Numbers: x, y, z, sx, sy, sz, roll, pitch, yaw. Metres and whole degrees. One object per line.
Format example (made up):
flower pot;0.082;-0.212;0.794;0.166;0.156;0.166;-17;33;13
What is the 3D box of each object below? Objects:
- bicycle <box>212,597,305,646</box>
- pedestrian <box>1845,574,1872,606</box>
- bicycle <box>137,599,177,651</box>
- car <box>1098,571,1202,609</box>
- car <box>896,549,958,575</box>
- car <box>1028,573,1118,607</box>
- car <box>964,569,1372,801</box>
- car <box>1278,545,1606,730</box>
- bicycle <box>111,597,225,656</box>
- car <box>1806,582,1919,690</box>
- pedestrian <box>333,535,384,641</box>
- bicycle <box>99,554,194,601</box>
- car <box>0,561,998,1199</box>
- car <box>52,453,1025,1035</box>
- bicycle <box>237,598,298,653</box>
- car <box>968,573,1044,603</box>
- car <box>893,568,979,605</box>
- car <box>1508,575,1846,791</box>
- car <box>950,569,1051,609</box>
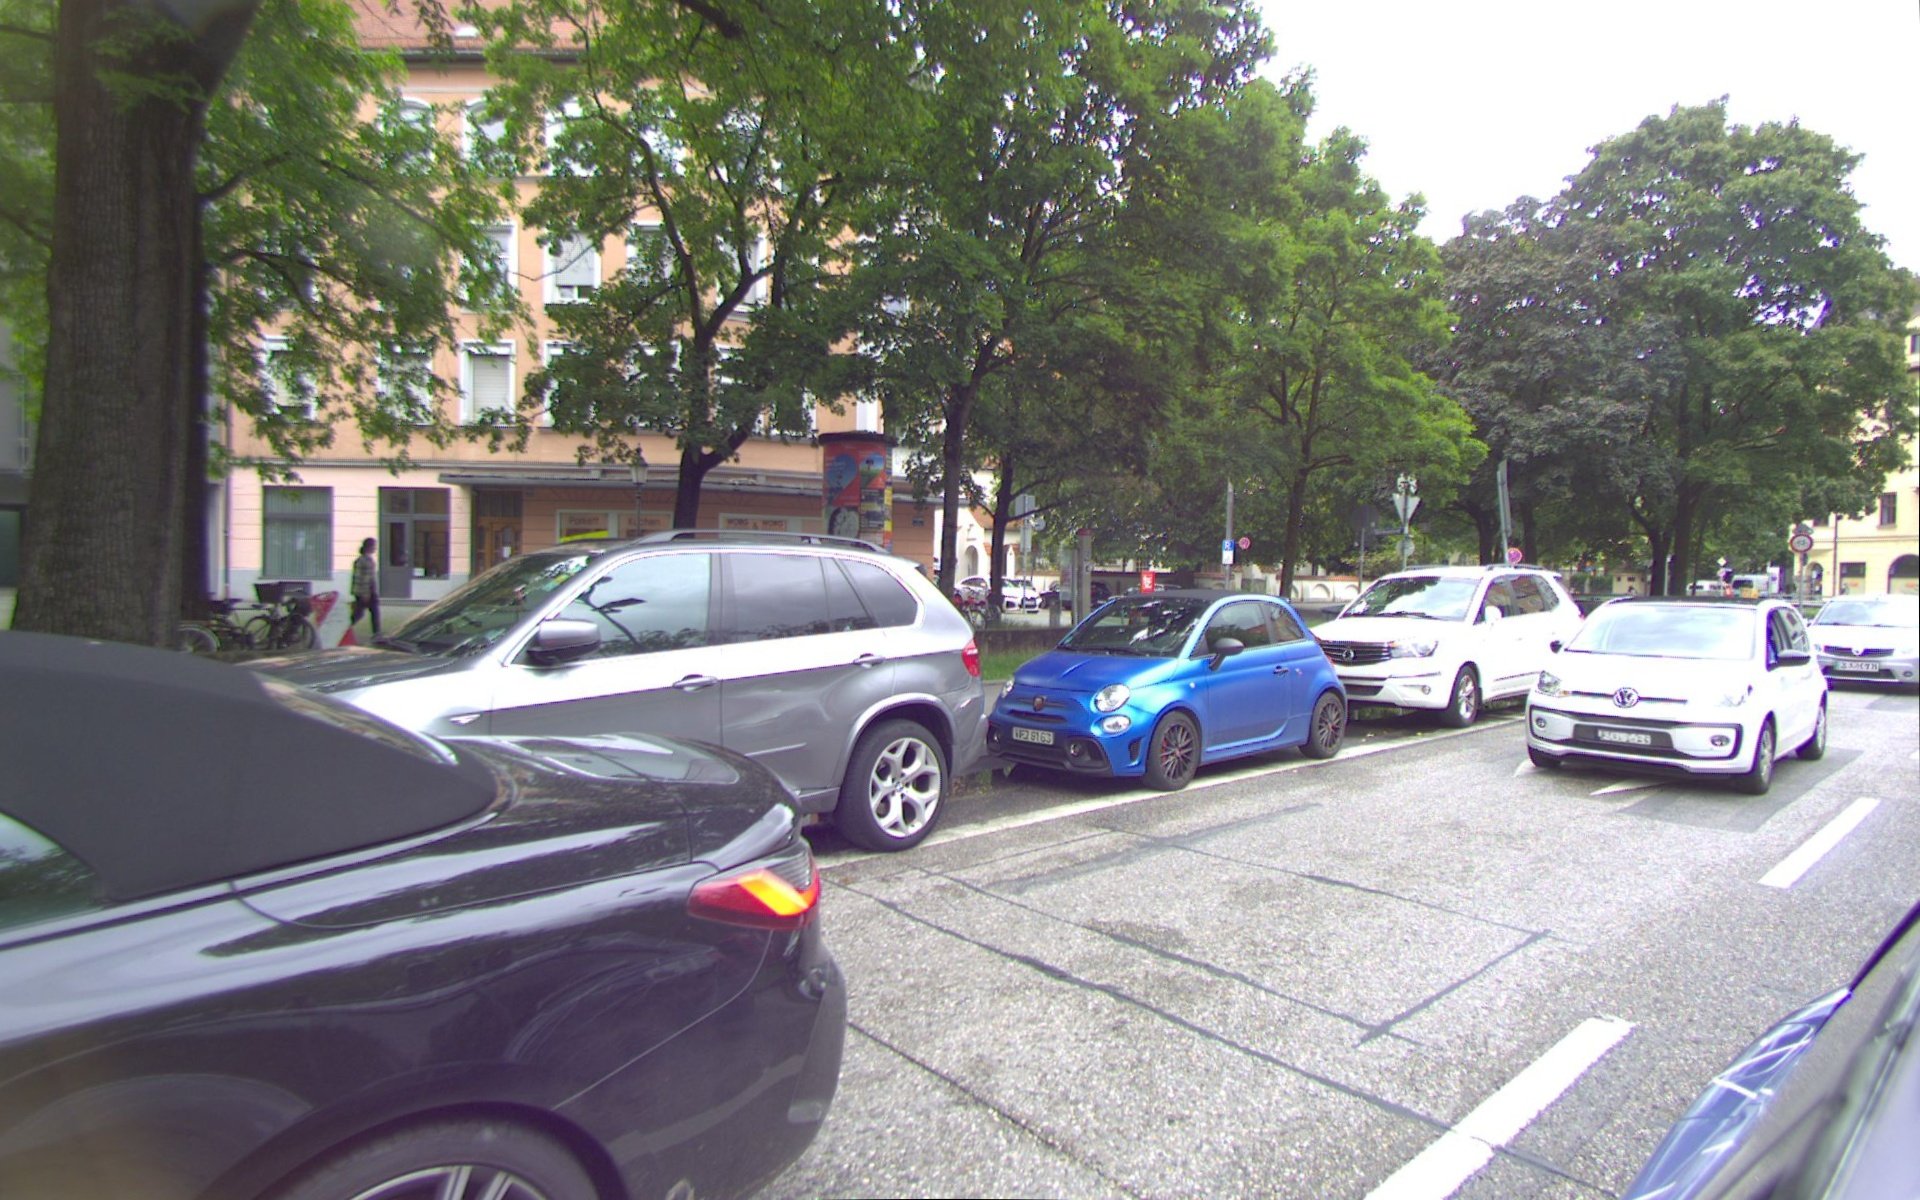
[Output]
bicycle;-10.942;0.330;15.808;1.154;0.732;0.320;-1;0;-19
pedestrian;58.949;-0.645;66.396;0.860;2.039;1.010;-1;0;-9
bicycle;-11.804;0.353;14.886;0.313;0.732;1.179;-1;1;-32
car;7.916;-0.430;42.607;1.824;1.485;4.446;-1;1;-31
car;-2.056;-2.297;61.558;1.824;1.485;4.447;-1;1;-30
car;5.171;-0.467;46.918;1.824;1.485;4.446;-1;1;-31
car;1.892;0.557;8.651;3.598;1.568;1.523;0;2;-41
car;6.169;0.342;12.643;4.936;1.879;1.847;0;2;-41
bicycle;-10.557;0.343;13.522;1.155;0.732;0.319;-1;0;-30
car;15.189;0.512;16.438;3.820;1.549;1.647;0;2;-42
pedestrian;-11.061;-0.226;18.627;0.617;1.926;0.630;-1;0;-13
bicycle;-23.073;-0.644;28.735;2.204;1.305;0.507;-1;0;-4
car;-2.264;0.642;1.387;4.714;1.406;1.727;0;2;-41
car;-1.856;0.412;5.477;1.933;1.842;4.480;2;2;45
bicycle;-9.756;0.341;14.282;0.312;0.732;1.181;-1;1;-14
car;2.365;-0.617;52.833;1.824;1.485;4.446;-1;1;-31
car;-1.106;-0.585;43.886;1.824;1.485;4.447;-1;1;-30
car;6.399;0.556;8.902;3.557;1.484;1.647;0;2;-42
car;1.509;-0.437;39.445;1.824;1.485;4.446;-1;1;-31
